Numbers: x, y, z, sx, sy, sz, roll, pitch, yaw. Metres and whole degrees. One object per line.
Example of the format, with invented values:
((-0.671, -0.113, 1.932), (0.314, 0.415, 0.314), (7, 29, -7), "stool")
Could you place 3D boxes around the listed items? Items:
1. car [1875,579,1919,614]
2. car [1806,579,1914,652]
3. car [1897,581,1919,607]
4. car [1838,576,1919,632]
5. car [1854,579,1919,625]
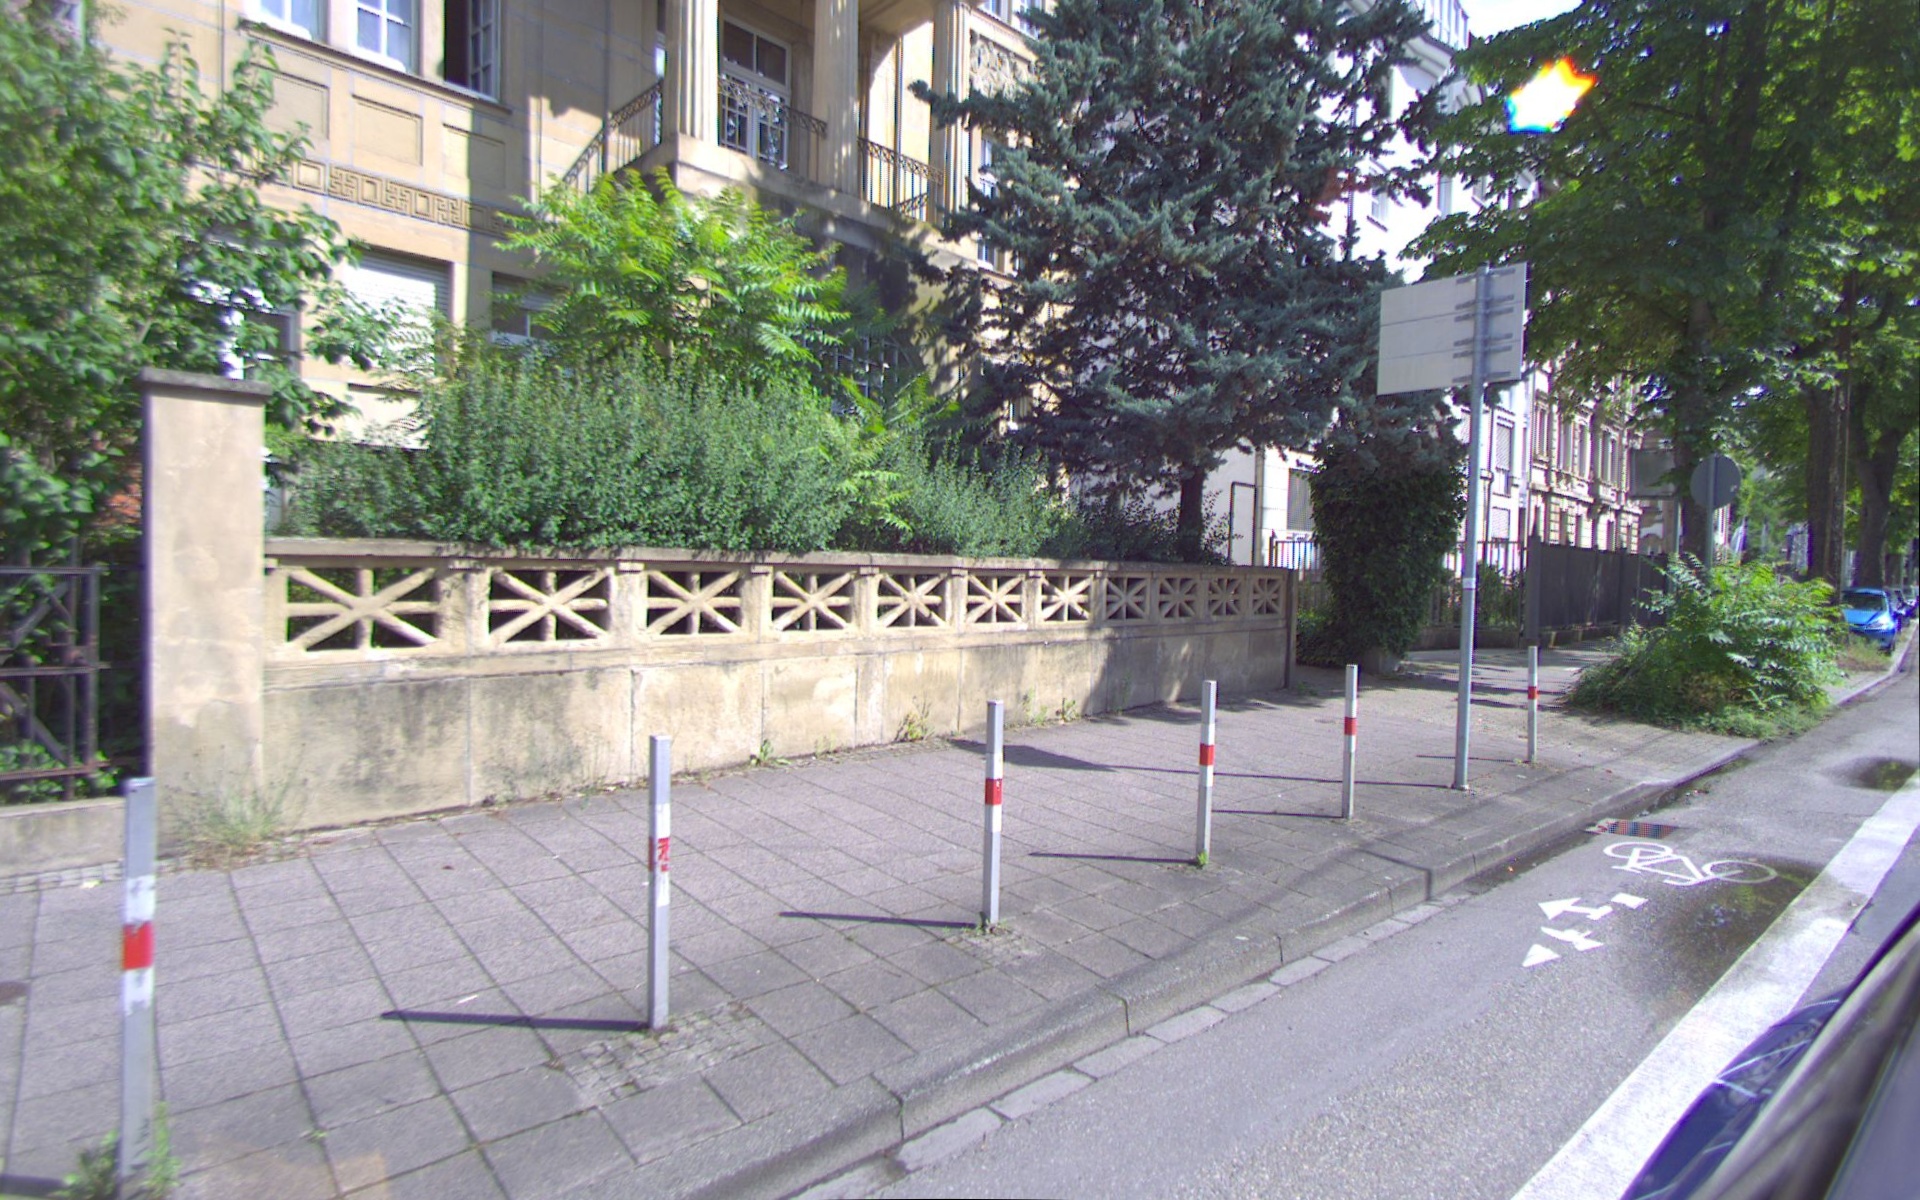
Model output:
((46.482, -0.186, 49.868), (4.131, 1.549, 1.771), (-1, 5, -45), "car")
((20.903, 0.291, 23.467), (1.639, 1.472, 3.640), (5, 4, 44), "car")
((62.332, -0.402, 65.842), (4.131, 1.591, 1.771), (-1, 5, -45), "car")
((27.994, 0.084, 30.718), (3.563, 1.526, 1.642), (-1, 5, -44), "car")
((33.571, 0.035, 36.455), (3.862, 1.469, 1.722), (-1, 5, -45), "car")
